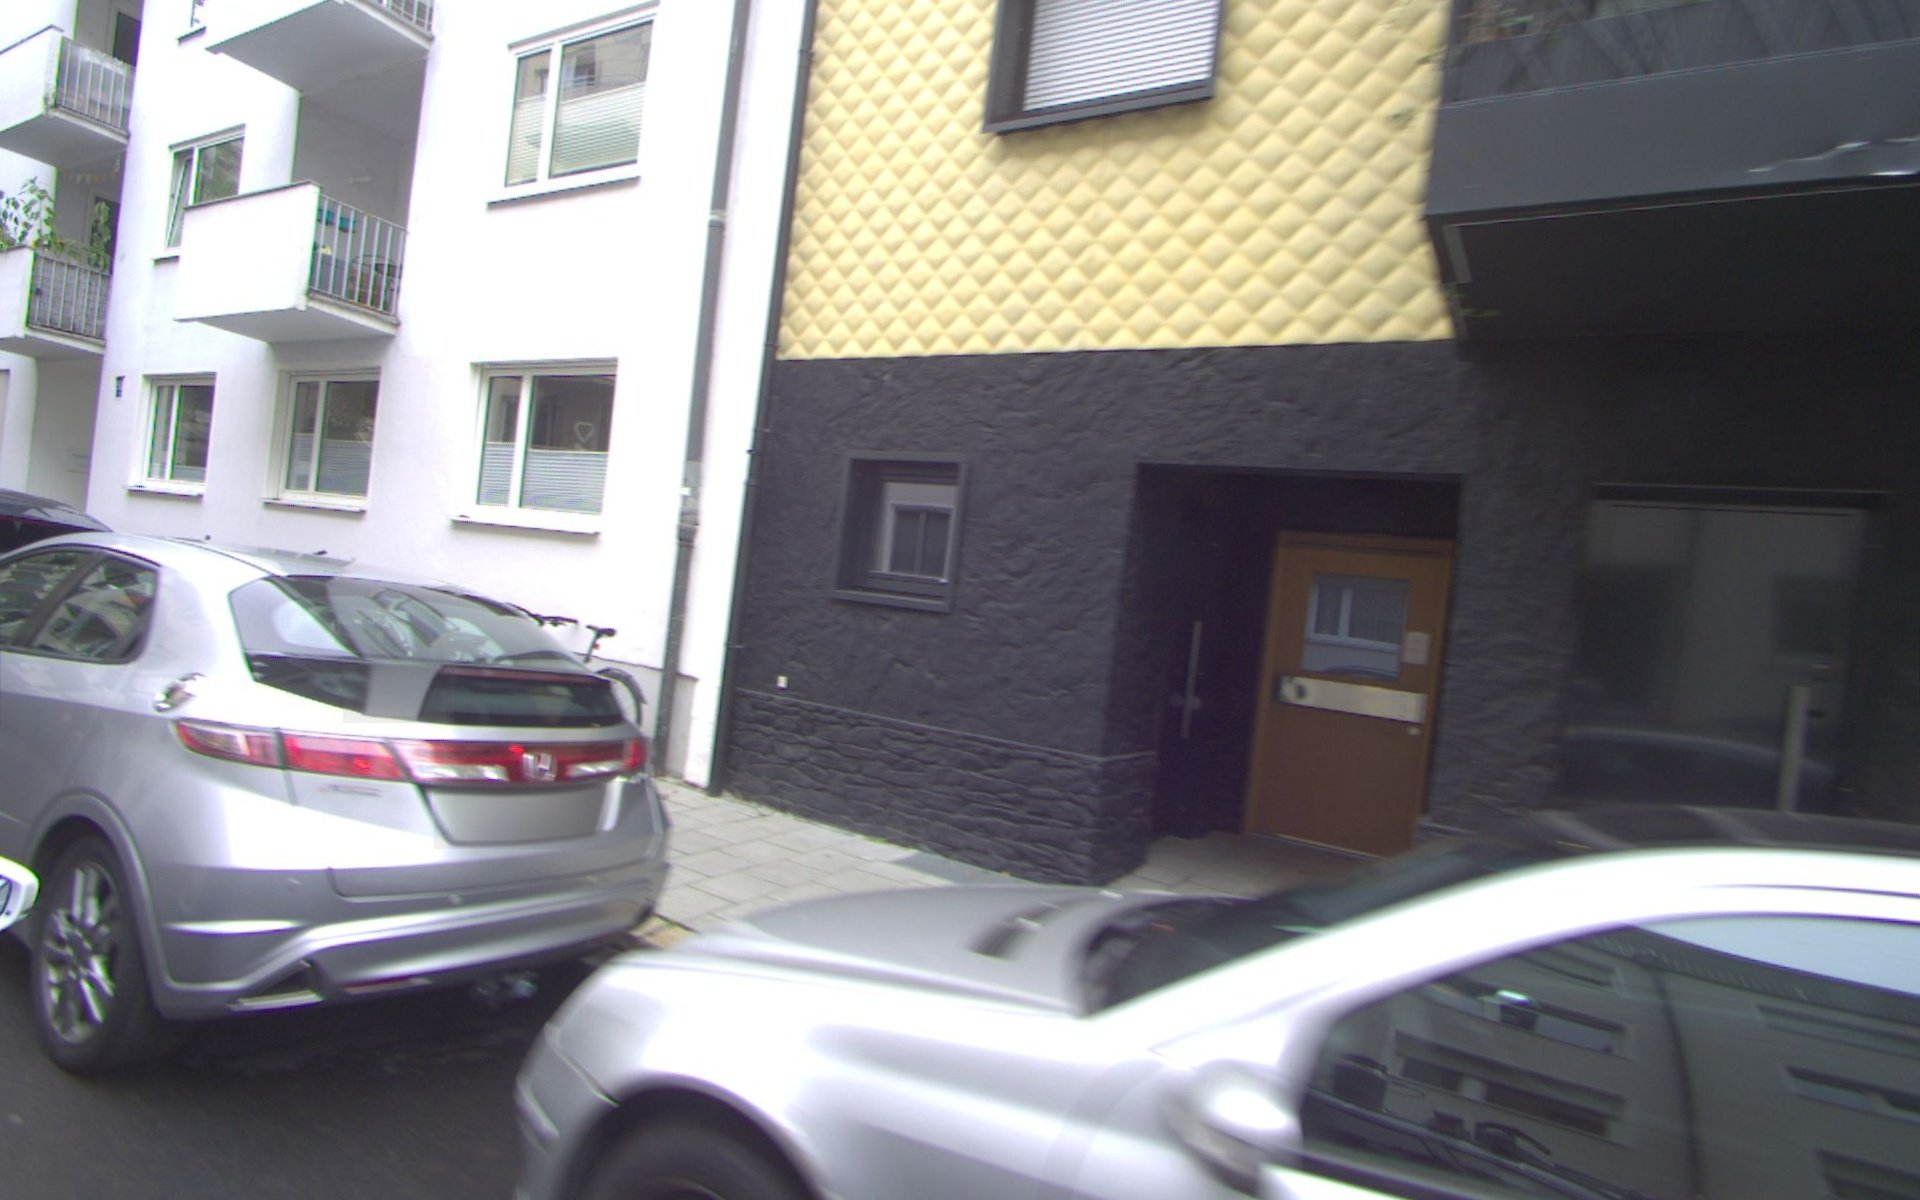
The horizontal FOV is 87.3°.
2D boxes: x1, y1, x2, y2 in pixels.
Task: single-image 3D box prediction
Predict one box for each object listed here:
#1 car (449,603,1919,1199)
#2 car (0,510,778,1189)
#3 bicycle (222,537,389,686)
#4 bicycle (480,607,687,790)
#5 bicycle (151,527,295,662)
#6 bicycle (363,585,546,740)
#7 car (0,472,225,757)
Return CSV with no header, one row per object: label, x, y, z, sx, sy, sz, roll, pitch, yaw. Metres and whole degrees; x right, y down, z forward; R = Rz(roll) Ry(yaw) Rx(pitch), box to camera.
car,1.280,0.991,1.613,4.131,1.447,1.737,7,0,30
car,-3.018,0.504,4.088,4.188,1.446,1.765,7,-3,30
bicycle,-6.046,0.092,9.274,1.537,1.165,0.571,7,0,31
bicycle,-2.756,0.683,7.312,1.496,1.061,0.477,7,0,31
bicycle,-7.421,-0.063,10.122,1.406,1.165,0.571,7,0,31
bicycle,-4.094,0.481,8.116,1.526,1.014,0.478,7,0,31
car,-7.186,-0.128,6.781,4.548,1.573,1.908,7,0,31
